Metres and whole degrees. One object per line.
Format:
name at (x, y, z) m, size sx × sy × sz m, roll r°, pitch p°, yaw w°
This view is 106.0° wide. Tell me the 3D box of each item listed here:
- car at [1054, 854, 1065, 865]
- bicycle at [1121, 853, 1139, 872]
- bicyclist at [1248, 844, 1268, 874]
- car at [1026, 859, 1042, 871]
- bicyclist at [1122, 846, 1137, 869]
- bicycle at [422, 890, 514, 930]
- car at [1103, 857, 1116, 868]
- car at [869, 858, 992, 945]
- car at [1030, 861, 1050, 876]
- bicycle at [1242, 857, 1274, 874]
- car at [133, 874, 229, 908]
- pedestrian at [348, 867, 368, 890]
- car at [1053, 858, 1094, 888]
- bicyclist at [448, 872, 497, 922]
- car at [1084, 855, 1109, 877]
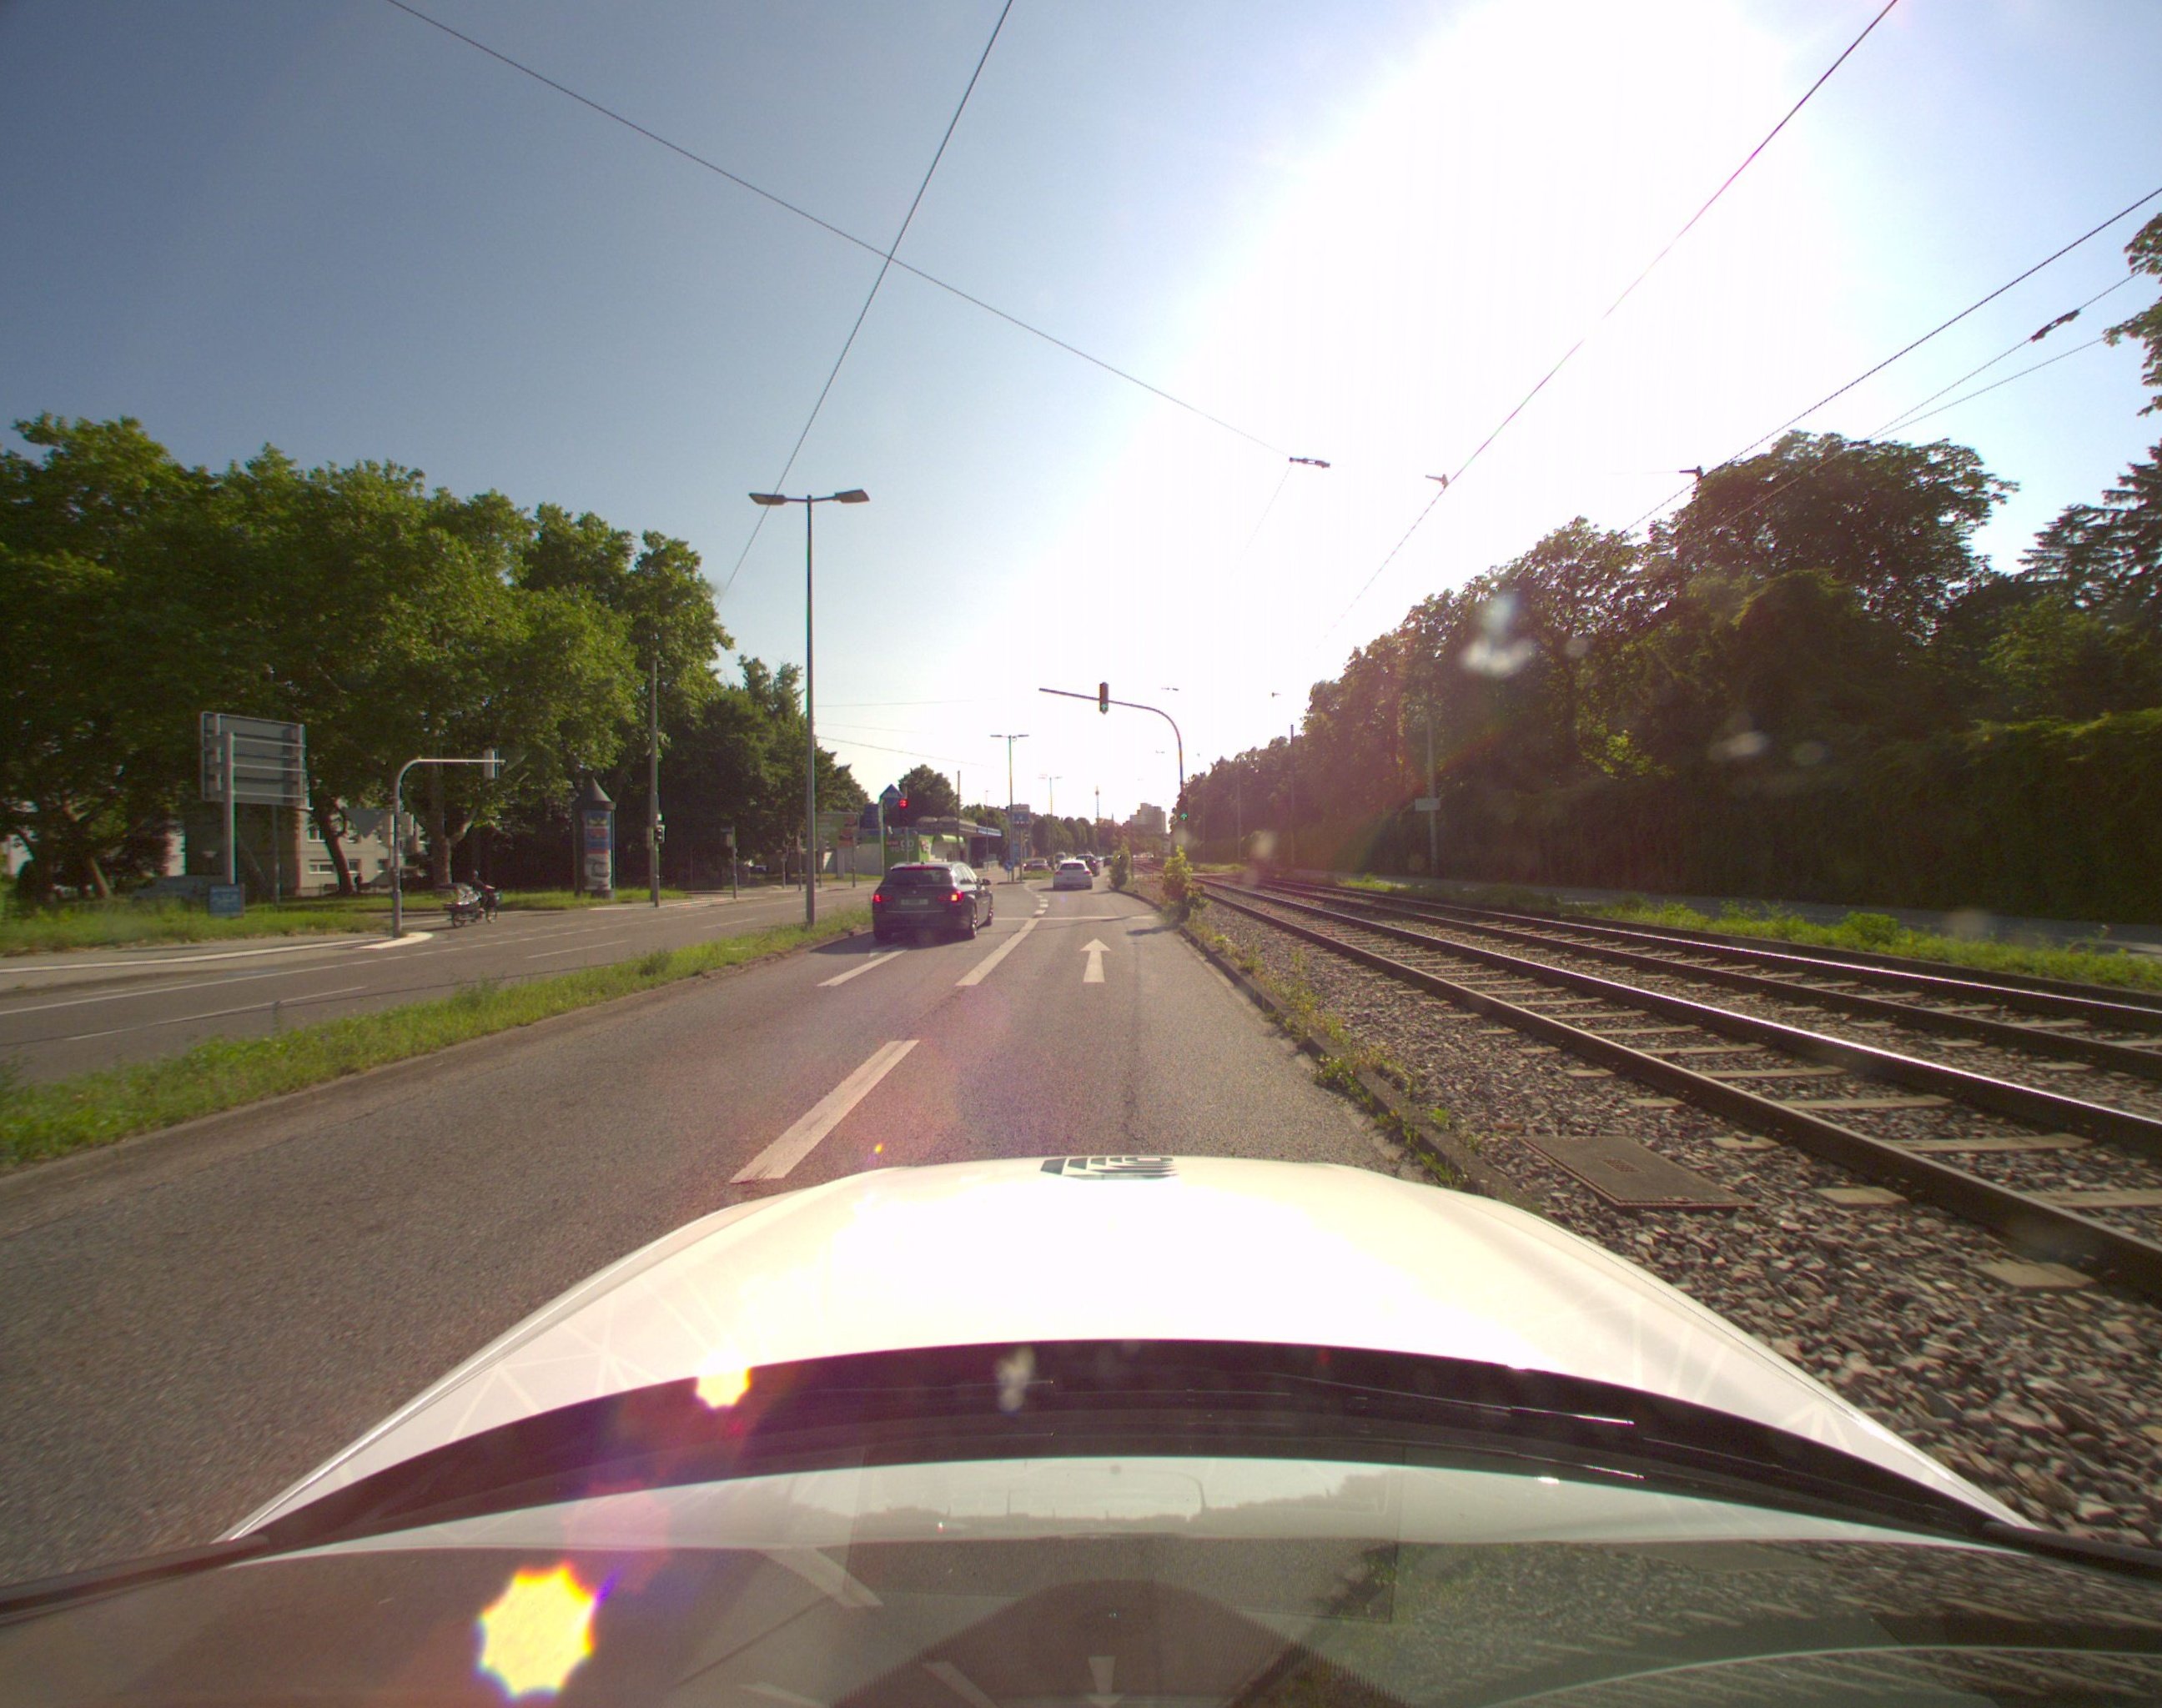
car at (-4.727, 1.217, 179.870) m, size 1.984 × 2.376 × 4.545 m, roll -2°, pitch 0°, yaw 5°
bicycle at (2.998, 0.540, 50.093) m, size 0.638 × 1.154 × 1.945 m, roll -1°, pitch -1°, yaw 18°
bicyclist at (11.795, 0.326, 54.312) m, size 1.023 × 1.993 × 0.953 m, roll -2°, pitch -1°, yaw 26°
car at (-5.835, 1.420, 101.402) m, size 1.567 × 1.417 × 3.336 m, roll -2°, pitch 0°, yaw 3°
bicyclist at (2.991, 0.217, 50.118) m, size 0.638 × 1.416 × 1.017 m, roll -2°, pitch -2°, yaw 18°
bicycle at (-18.643, 1.680, 24.855) m, size 0.658 × 1.049 × 2.584 m, roll -1°, pitch 0°, yaw 5°
car at (3.897, 1.146, 109.604) m, size 1.742 × 1.486 × 3.603 m, roll 0°, pitch 0°, yaw 2°
car at (-2.883, 0.843, 16.540) m, size 1.755 × 1.486 × 4.641 m, roll 0°, pitch 0°, yaw -2°
car at (-4.285, 1.499, 85.807) m, size 1.646 × 1.395 × 4.136 m, roll -1°, pitch 0°, yaw 2°
bicycle at (11.815, 0.774, 54.305) m, size 1.903 × 1.115 × 0.953 m, roll -2°, pitch 0°, yaw 26°
car at (-56.019, 2.289, 50.713) m, size 4.363 × 1.963 × 1.828 m, roll -2°, pitch -1°, yaw 8°
pedestrian at (-55.482, 1.864, 62.480) m, size 0.680 × 1.770 × 0.881 m, roll -1°, pitch 0°, yaw 15°
car at (-0.310, 0.876, 38.505) m, size 1.774 × 1.356 × 3.603 m, roll 0°, pitch 0°, yaw 2°
bicyclist at (-18.647, 1.310, 24.972) m, size 0.658 × 1.452 × 1.052 m, roll -1°, pitch -1°, yaw 5°
car at (1.136, 0.886, 60.773) m, size 1.720 × 1.593 × 3.598 m, roll 0°, pitch 0°, yaw -2°
